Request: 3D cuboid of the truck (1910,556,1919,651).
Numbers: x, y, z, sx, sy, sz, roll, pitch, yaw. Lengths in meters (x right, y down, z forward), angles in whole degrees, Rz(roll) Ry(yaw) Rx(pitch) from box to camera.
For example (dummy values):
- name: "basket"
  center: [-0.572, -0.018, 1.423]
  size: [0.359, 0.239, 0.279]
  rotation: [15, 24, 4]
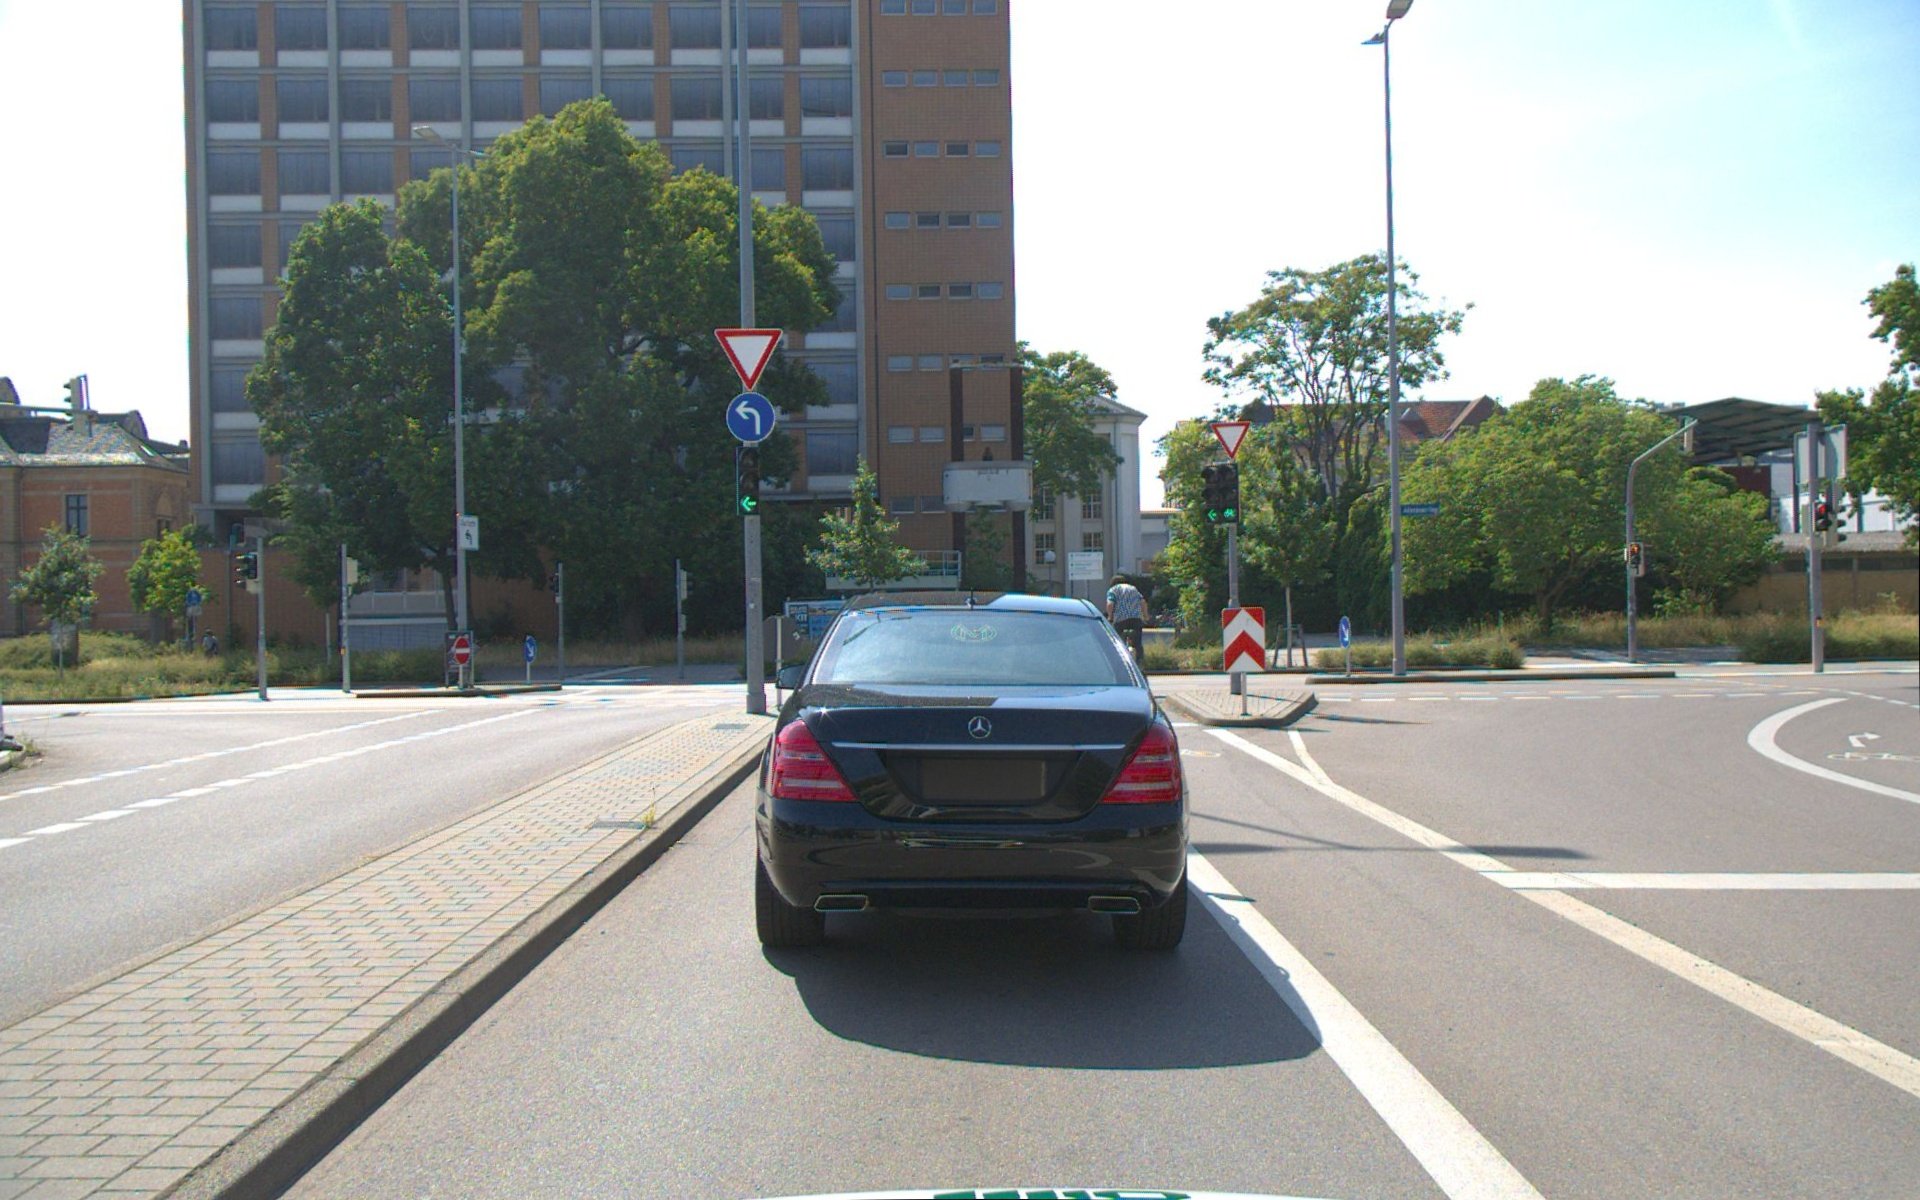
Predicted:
- name: "truck"
  center: [27.771, -0.045, 41.095]
  size: [6.881, 2.397, 2.413]
  rotation: [-2, -2, 0]

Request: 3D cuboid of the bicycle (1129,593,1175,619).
- name: "bicycle"
  center: [12.067, 0.361, 103.841]
  size: [2.766, 1.526, 0.841]
  rotation: [-2, 0, -2]

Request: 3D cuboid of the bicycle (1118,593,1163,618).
- name: "bicycle"
  center: [11.587, 0.364, 105.999]
  size: [2.765, 1.506, 0.841]
  rotation: [-2, 0, 0]

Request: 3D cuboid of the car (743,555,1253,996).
- name: "car"
  center: [-0.014, 0.644, 8.269]
  size: [1.822, 1.557, 4.709]
  rotation: [1, 0, -4]

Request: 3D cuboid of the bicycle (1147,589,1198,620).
- name: "bicycle"
  center: [12.287, 0.233, 95.627]
  size: [2.766, 1.688, 0.841]
  rotation: [-2, 1, -2]

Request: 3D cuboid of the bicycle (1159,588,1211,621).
- name: "bicycle"
  center: [12.644, 0.238, 93.088]
  size: [2.766, 1.775, 0.841]
  rotation: [-2, 0, -2]

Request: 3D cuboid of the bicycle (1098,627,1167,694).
- name: "bicycle"
  center: [2.653, 0.922, 25.663]
  size: [0.679, 0.963, 1.956]
  rotation: [1, 0, -5]

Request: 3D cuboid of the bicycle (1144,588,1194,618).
- name: "bicycle"
  center: [12.224, 0.177, 96.607]
  size: [2.766, 1.615, 0.841]
  rotation: [-2, 0, -2]

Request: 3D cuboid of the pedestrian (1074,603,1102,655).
- name: "pedestrian"
  center: [4.050, 0.925, 52.442]
  size: [0.794, 1.607, 0.692]
  rotation: [-1, -1, 1]

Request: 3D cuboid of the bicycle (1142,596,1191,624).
- name: "bicycle"
  center: [12.185, 0.604, 97.595]
  size: [2.766, 1.564, 0.841]
  rotation: [-2, 0, -2]

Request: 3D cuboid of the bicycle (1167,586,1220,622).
- name: "bicycle"
  center: [12.806, 0.202, 90.831]
  size: [2.766, 1.868, 0.841]
  rotation: [-2, 0, -2]

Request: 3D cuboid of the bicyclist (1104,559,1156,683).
- name: "bicyclist"
  center: [2.651, 0.326, 25.843]
  size: [0.672, 1.911, 0.859]
  rotation: [0, -1, -5]

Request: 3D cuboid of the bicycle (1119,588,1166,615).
- name: "bicycle"
  center: [11.220, 0.096, 101.629]
  size: [2.766, 1.586, 0.841]
  rotation: [-2, 0, -2]

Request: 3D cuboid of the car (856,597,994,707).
- name: "car"
  center: [-0.525, 0.757, 25.549]
  size: [1.953, 1.534, 3.999]
  rotation: [1, 0, -1]

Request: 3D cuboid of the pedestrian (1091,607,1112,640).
- name: "pedestrian"
  center: [5.384, 0.894, 62.950]
  size: [0.776, 1.235, 0.758]
  rotation: [1, -1, 6]

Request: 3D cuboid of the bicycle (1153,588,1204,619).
- name: "bicycle"
  center: [12.498, 0.220, 94.623]
  size: [2.766, 1.678, 0.841]
  rotation: [-2, 0, -2]

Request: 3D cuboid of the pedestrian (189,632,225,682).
- name: "pedestrian"
  center: [-27.059, 2.041, 59.458]
  size: [0.781, 1.756, 0.873]
  rotation: [-2, -1, 22]
